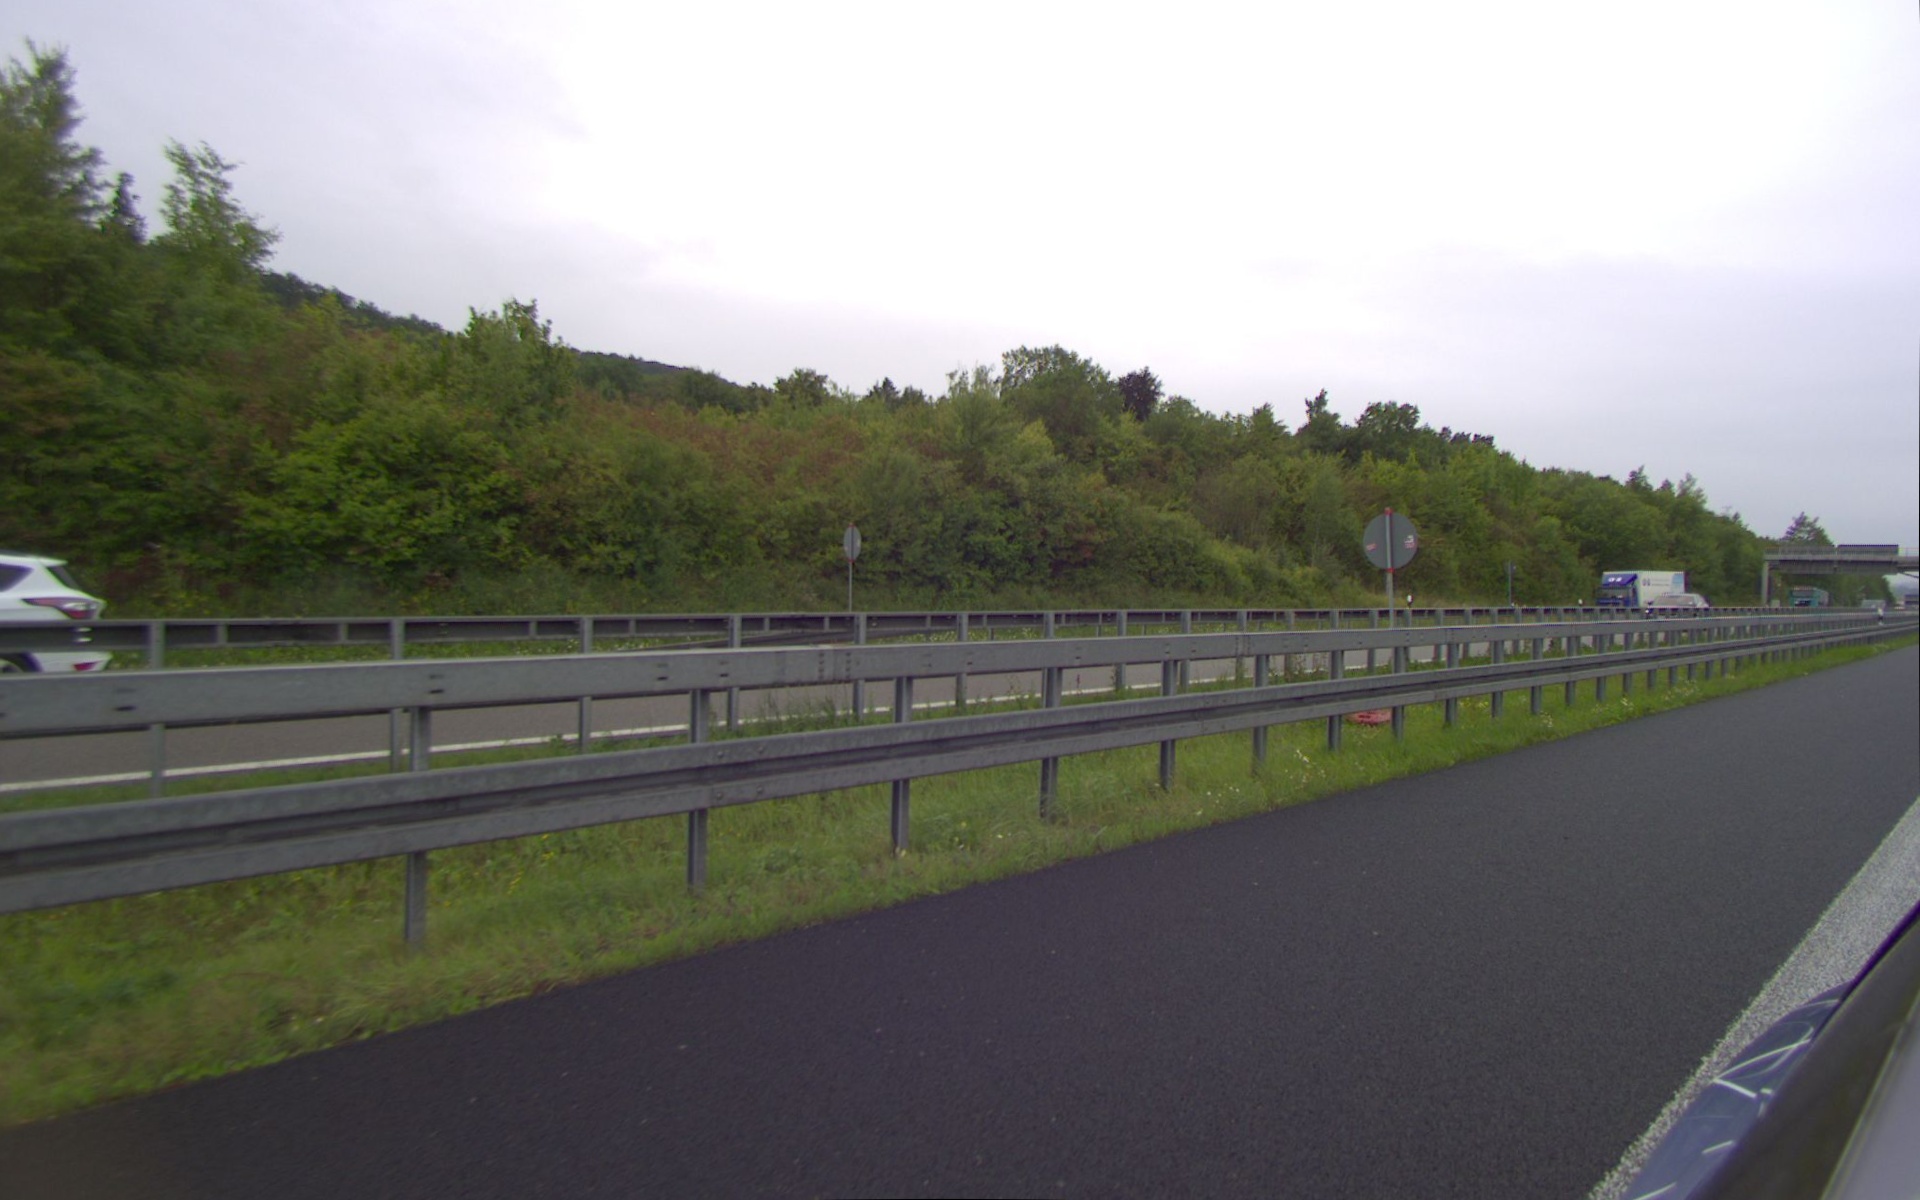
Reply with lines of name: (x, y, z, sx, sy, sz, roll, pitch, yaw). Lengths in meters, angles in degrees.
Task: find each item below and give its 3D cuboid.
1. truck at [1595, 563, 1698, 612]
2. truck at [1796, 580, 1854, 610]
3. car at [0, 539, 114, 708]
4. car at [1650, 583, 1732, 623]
truck: (51.554, -0.927, 75.896, 9.100, 3.460, 2.913, 0, 1, -32)
truck: (102.491, -0.609, 119.818, 13.113, 3.460, 2.908, 0, 1, -39)
car: (-10.774, 0.218, 9.662, 4.075, 1.633, 1.899, 0, 1, -42)
car: (32.237, 0.119, 44.615, 4.394, 1.676, 2.011, 0, 1, -41)
